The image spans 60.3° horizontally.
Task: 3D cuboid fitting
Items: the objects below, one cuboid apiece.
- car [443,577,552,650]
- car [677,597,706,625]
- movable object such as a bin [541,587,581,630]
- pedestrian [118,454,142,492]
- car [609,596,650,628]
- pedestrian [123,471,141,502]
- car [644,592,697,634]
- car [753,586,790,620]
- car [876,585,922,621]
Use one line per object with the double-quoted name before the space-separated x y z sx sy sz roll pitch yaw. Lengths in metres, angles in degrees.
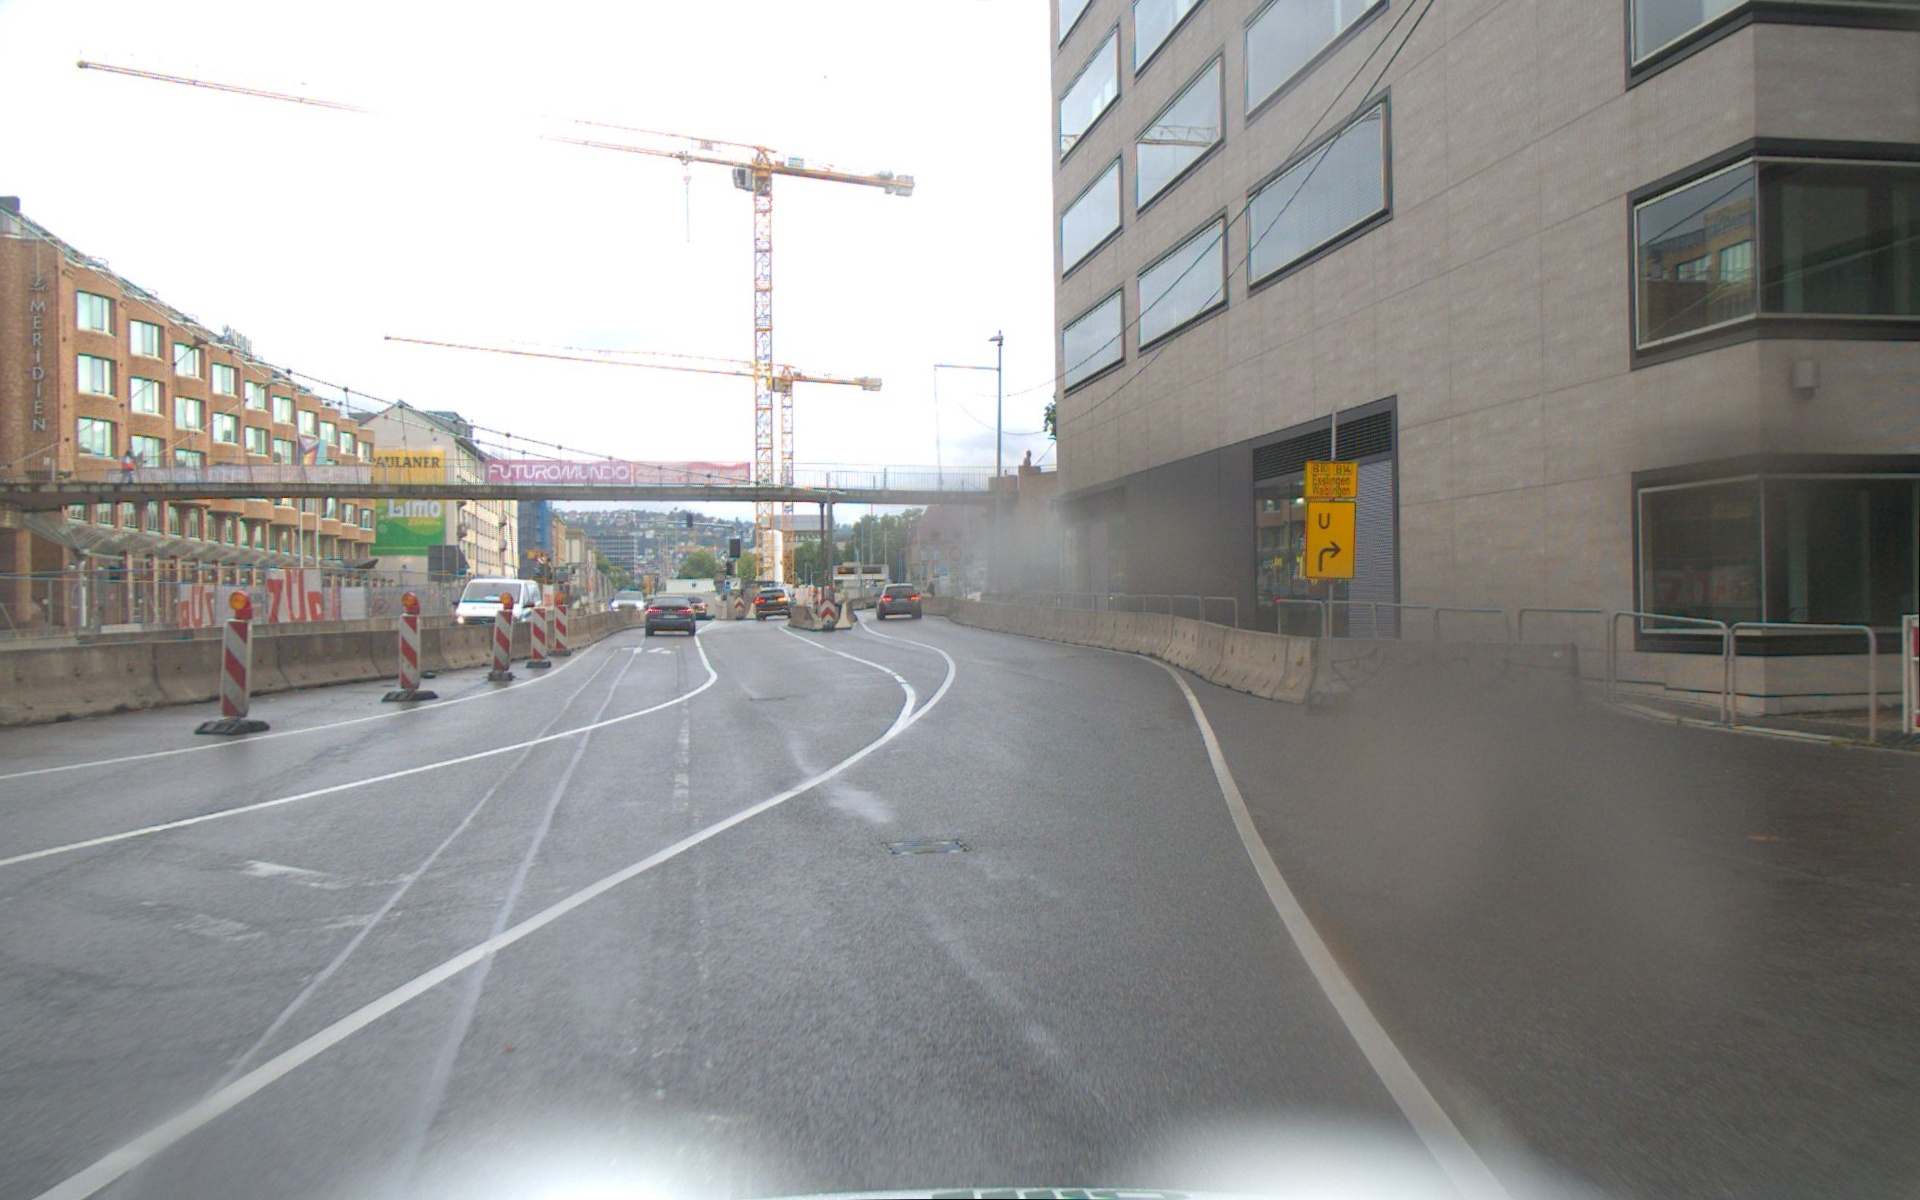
"car" -12.806 0.347 46.129 1.954 1.918 4.866 -1 0 -4
"car" -17.812 0.692 109.561 1.829 1.796 4.645 -1 0 -10
"movable object such as a bin" -23.599 0.511 98.024 1.991 2.316 4.280 -5 1 -12
"pedestrian" -33.767 -5.169 67.288 0.608 1.477 0.617 -2 0 -6
"car" -18.754 0.686 94.012 1.956 1.651 4.693 -2 1 -8
"pedestrian" -33.683 -4.618 67.312 0.466 1.215 0.483 -2 0 -6
"car" -10.607 0.435 60.467 1.829 1.468 4.644 -1 0 -10
"car" -9.832 0.129 86.121 1.828 1.689 4.648 -1 0 -8
"car" -2.552 0.098 69.833 1.825 1.458 4.655 -1 0 -1
